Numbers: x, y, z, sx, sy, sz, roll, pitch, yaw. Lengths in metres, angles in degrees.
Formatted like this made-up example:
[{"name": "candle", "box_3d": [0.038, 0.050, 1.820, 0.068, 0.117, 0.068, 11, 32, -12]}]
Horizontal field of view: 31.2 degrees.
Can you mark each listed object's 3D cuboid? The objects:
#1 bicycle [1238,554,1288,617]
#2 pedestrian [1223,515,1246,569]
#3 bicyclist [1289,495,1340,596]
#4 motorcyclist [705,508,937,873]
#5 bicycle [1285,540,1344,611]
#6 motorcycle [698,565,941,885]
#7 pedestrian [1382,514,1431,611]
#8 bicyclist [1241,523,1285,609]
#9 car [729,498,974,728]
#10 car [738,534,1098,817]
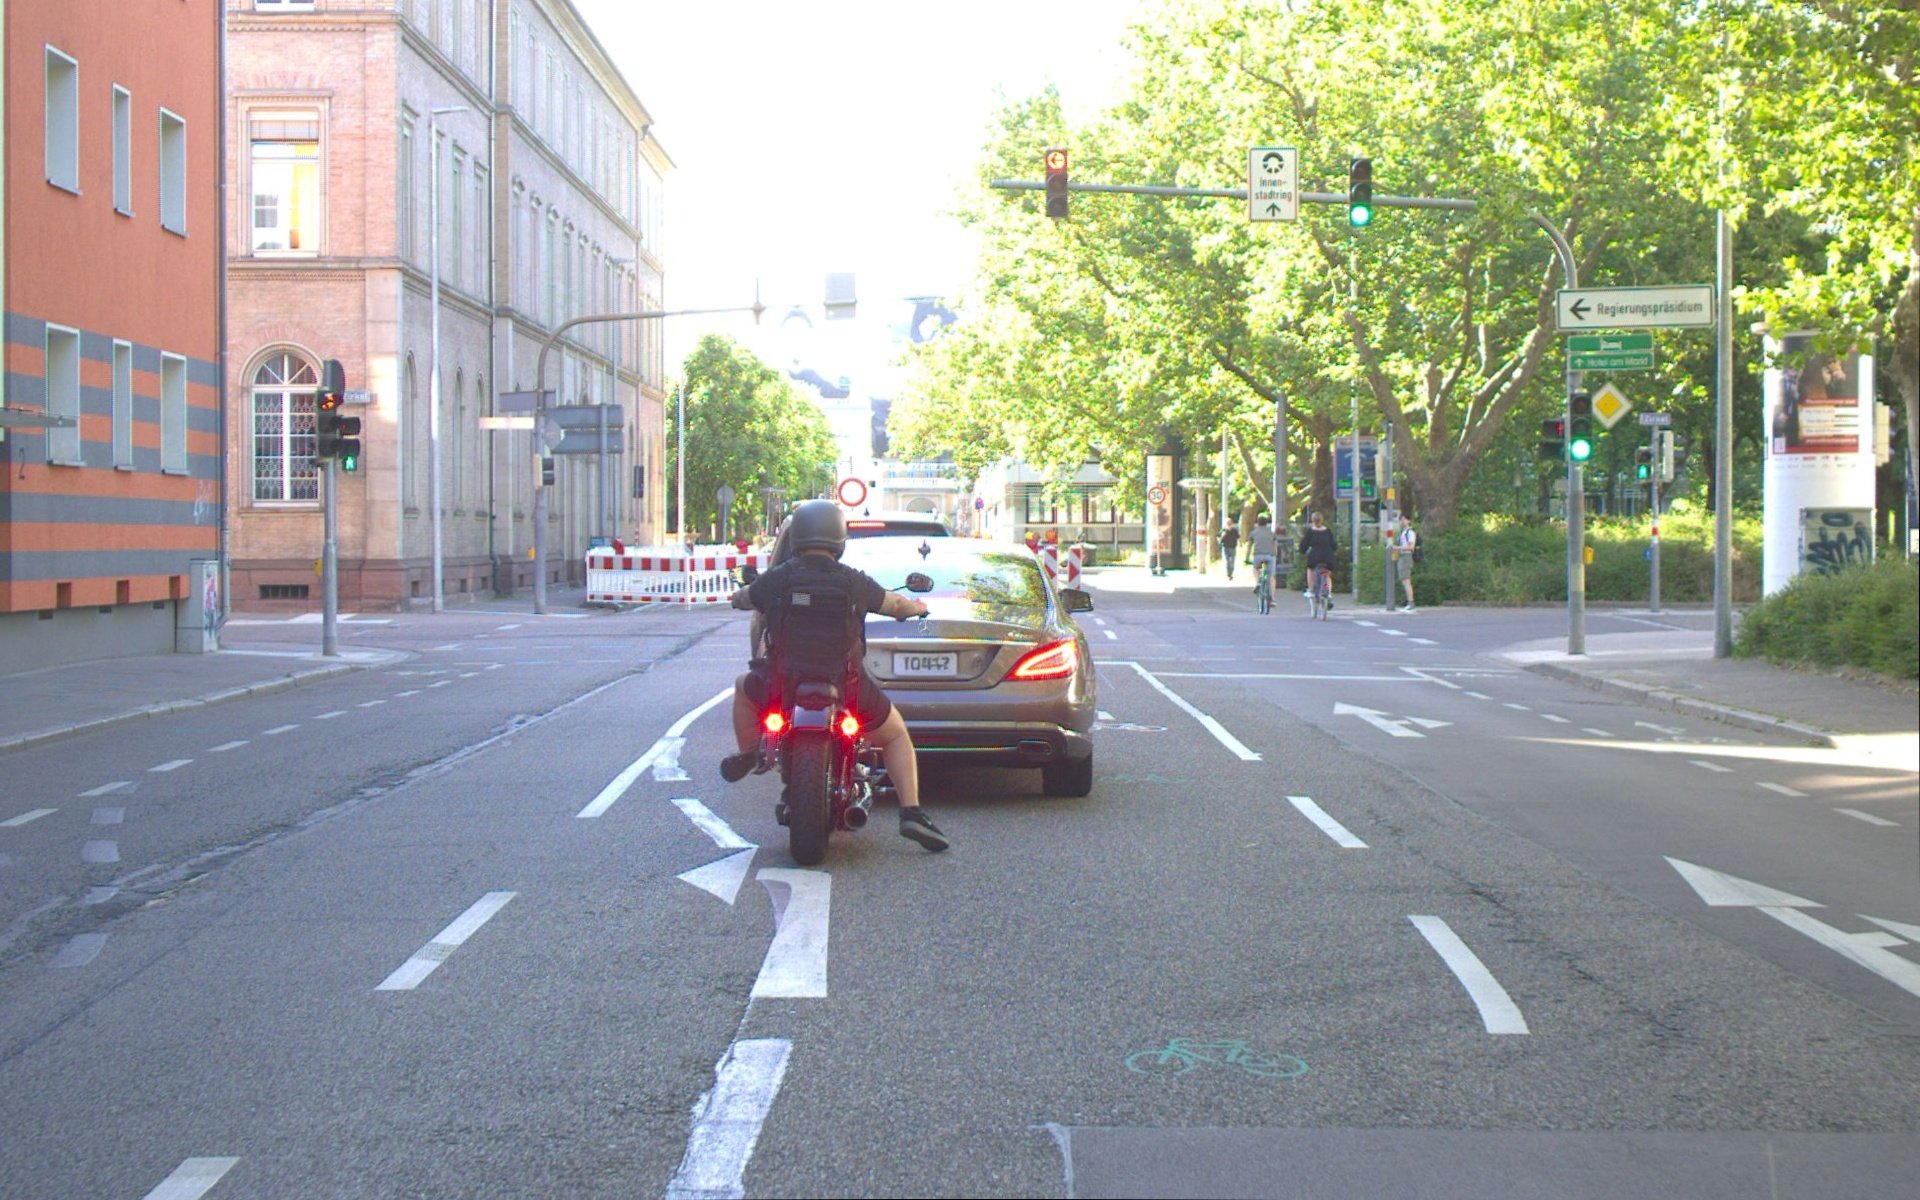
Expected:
[{"name": "bicycle", "box_3d": [5.438, -0.270, 61.837, 0.656, 1.107, 2.186, 2, 1, -1]}, {"name": "pedestrian", "box_3d": [8.005, -1.697, 100.334, 0.592, 1.573, 0.527, 2, 1, 0]}, {"name": "bicyclist", "box_3d": [5.471, -0.838, 53.130, 0.656, 1.525, 0.852, 2, 1, -1]}, {"name": "motorcyclist", "box_3d": [-0.617, 0.380, 15.762, 1.012, 1.596, 1.406, 0, 1, -1]}, {"name": "bicycle", "box_3d": [5.465, -0.384, 53.087, 0.656, 1.066, 1.927, 2, 1, -1]}, {"name": "motorcycle", "box_3d": [-0.600, 0.509, 15.684, 1.012, 1.302, 2.673, 0, 1, -1]}, {"name": "pedestrian", "box_3d": [8.269, -0.698, 63.637, 0.570, 1.768, 0.625, 1, 1, -34]}, {"name": "bicyclist", "box_3d": [5.445, -0.618, 61.845, 0.656, 1.525, 0.906, 2, 1, -1]}, {"name": "car", "box_3d": [-0.923, 0.065, 27.140, 1.630, 1.645, 3.851, 1, 1, -6]}, {"name": "car", "box_3d": [-0.239, 0.352, 19.533, 1.828, 1.415, 3.815, 1, 1, -1]}]
